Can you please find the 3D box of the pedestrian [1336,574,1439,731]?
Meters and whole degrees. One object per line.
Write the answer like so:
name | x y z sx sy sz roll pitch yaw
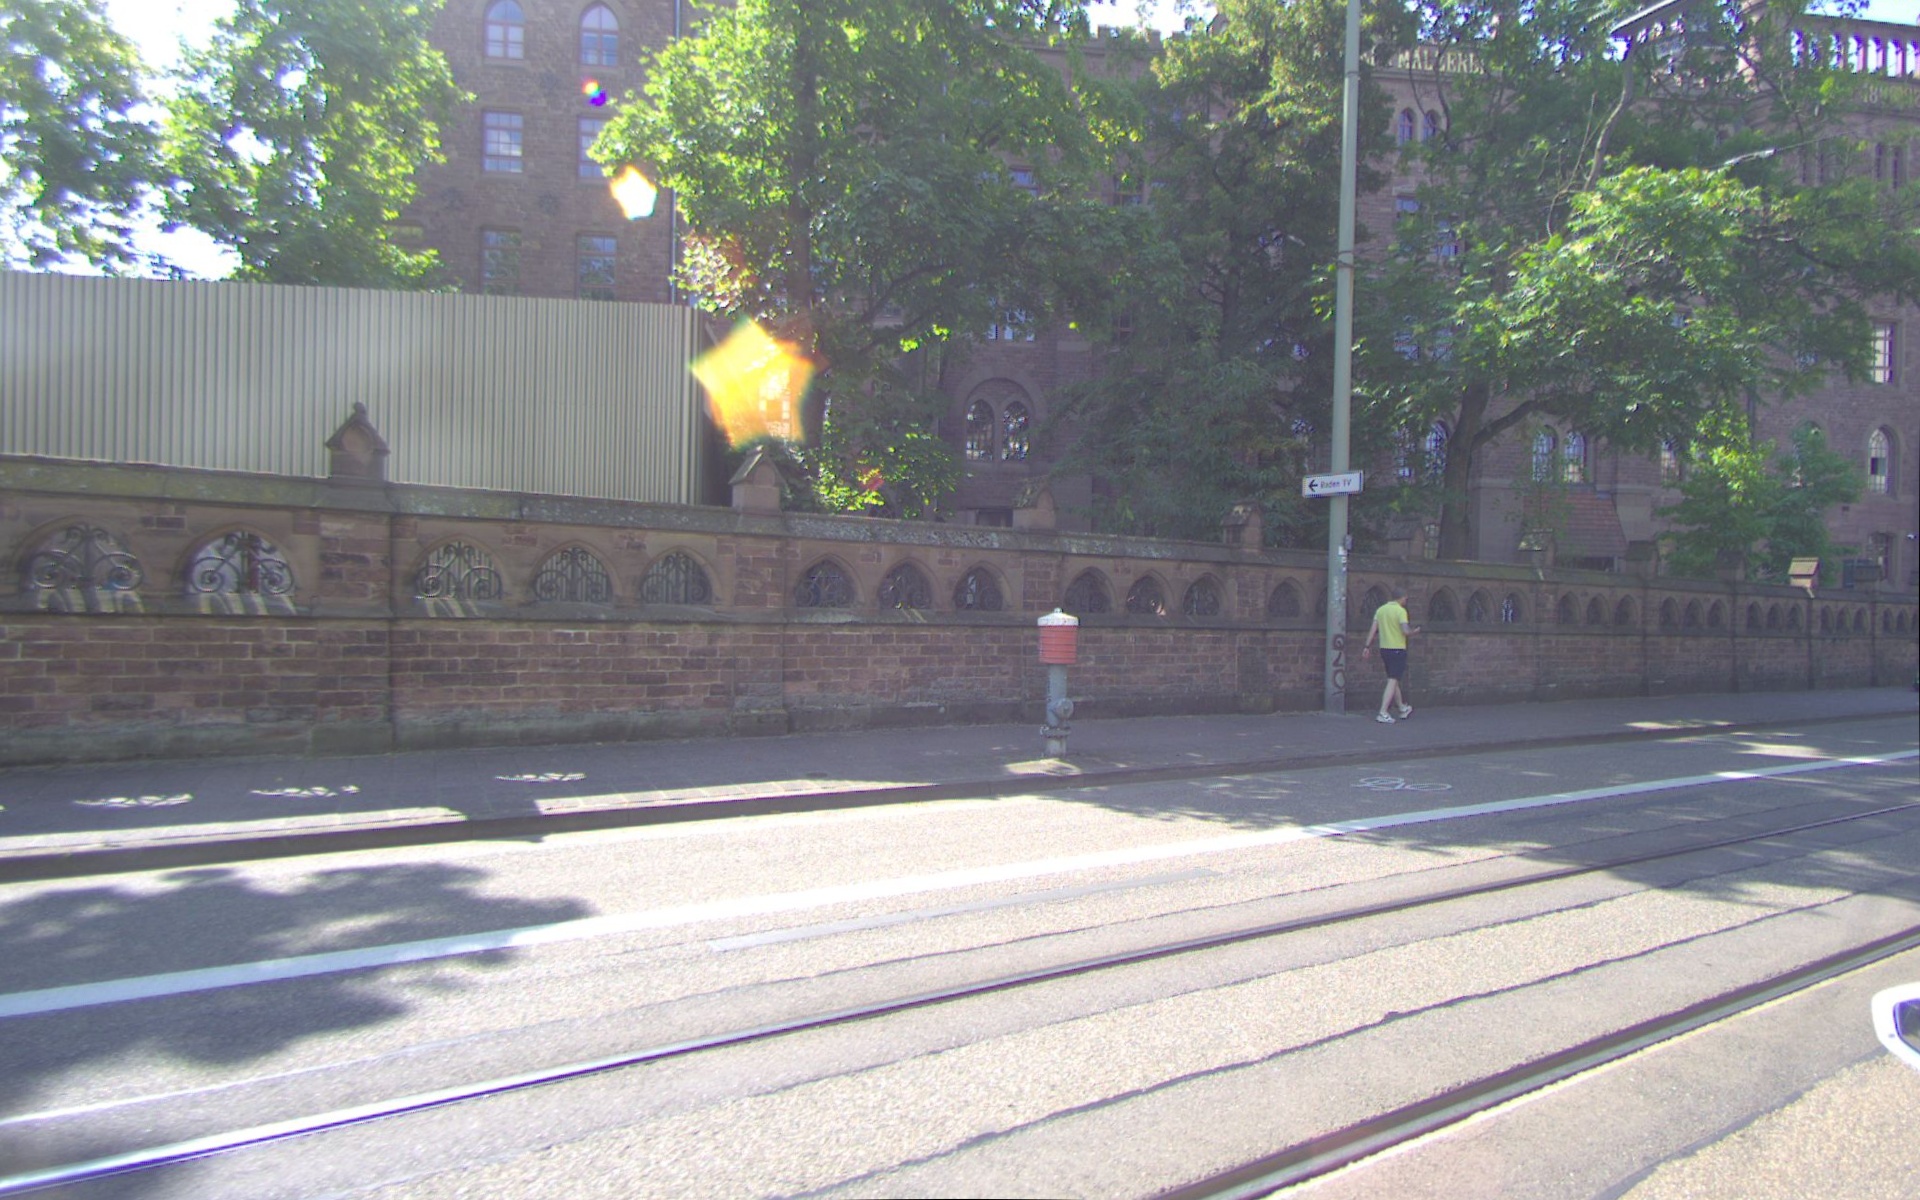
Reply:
pedestrian | 5.824 0.687 13.701 0.972 2.040 0.859 1 0 -32

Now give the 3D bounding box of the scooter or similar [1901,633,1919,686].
scooter or similar | 22.312 1.381 23.470 0.416 1.194 1.308 1 0 44
